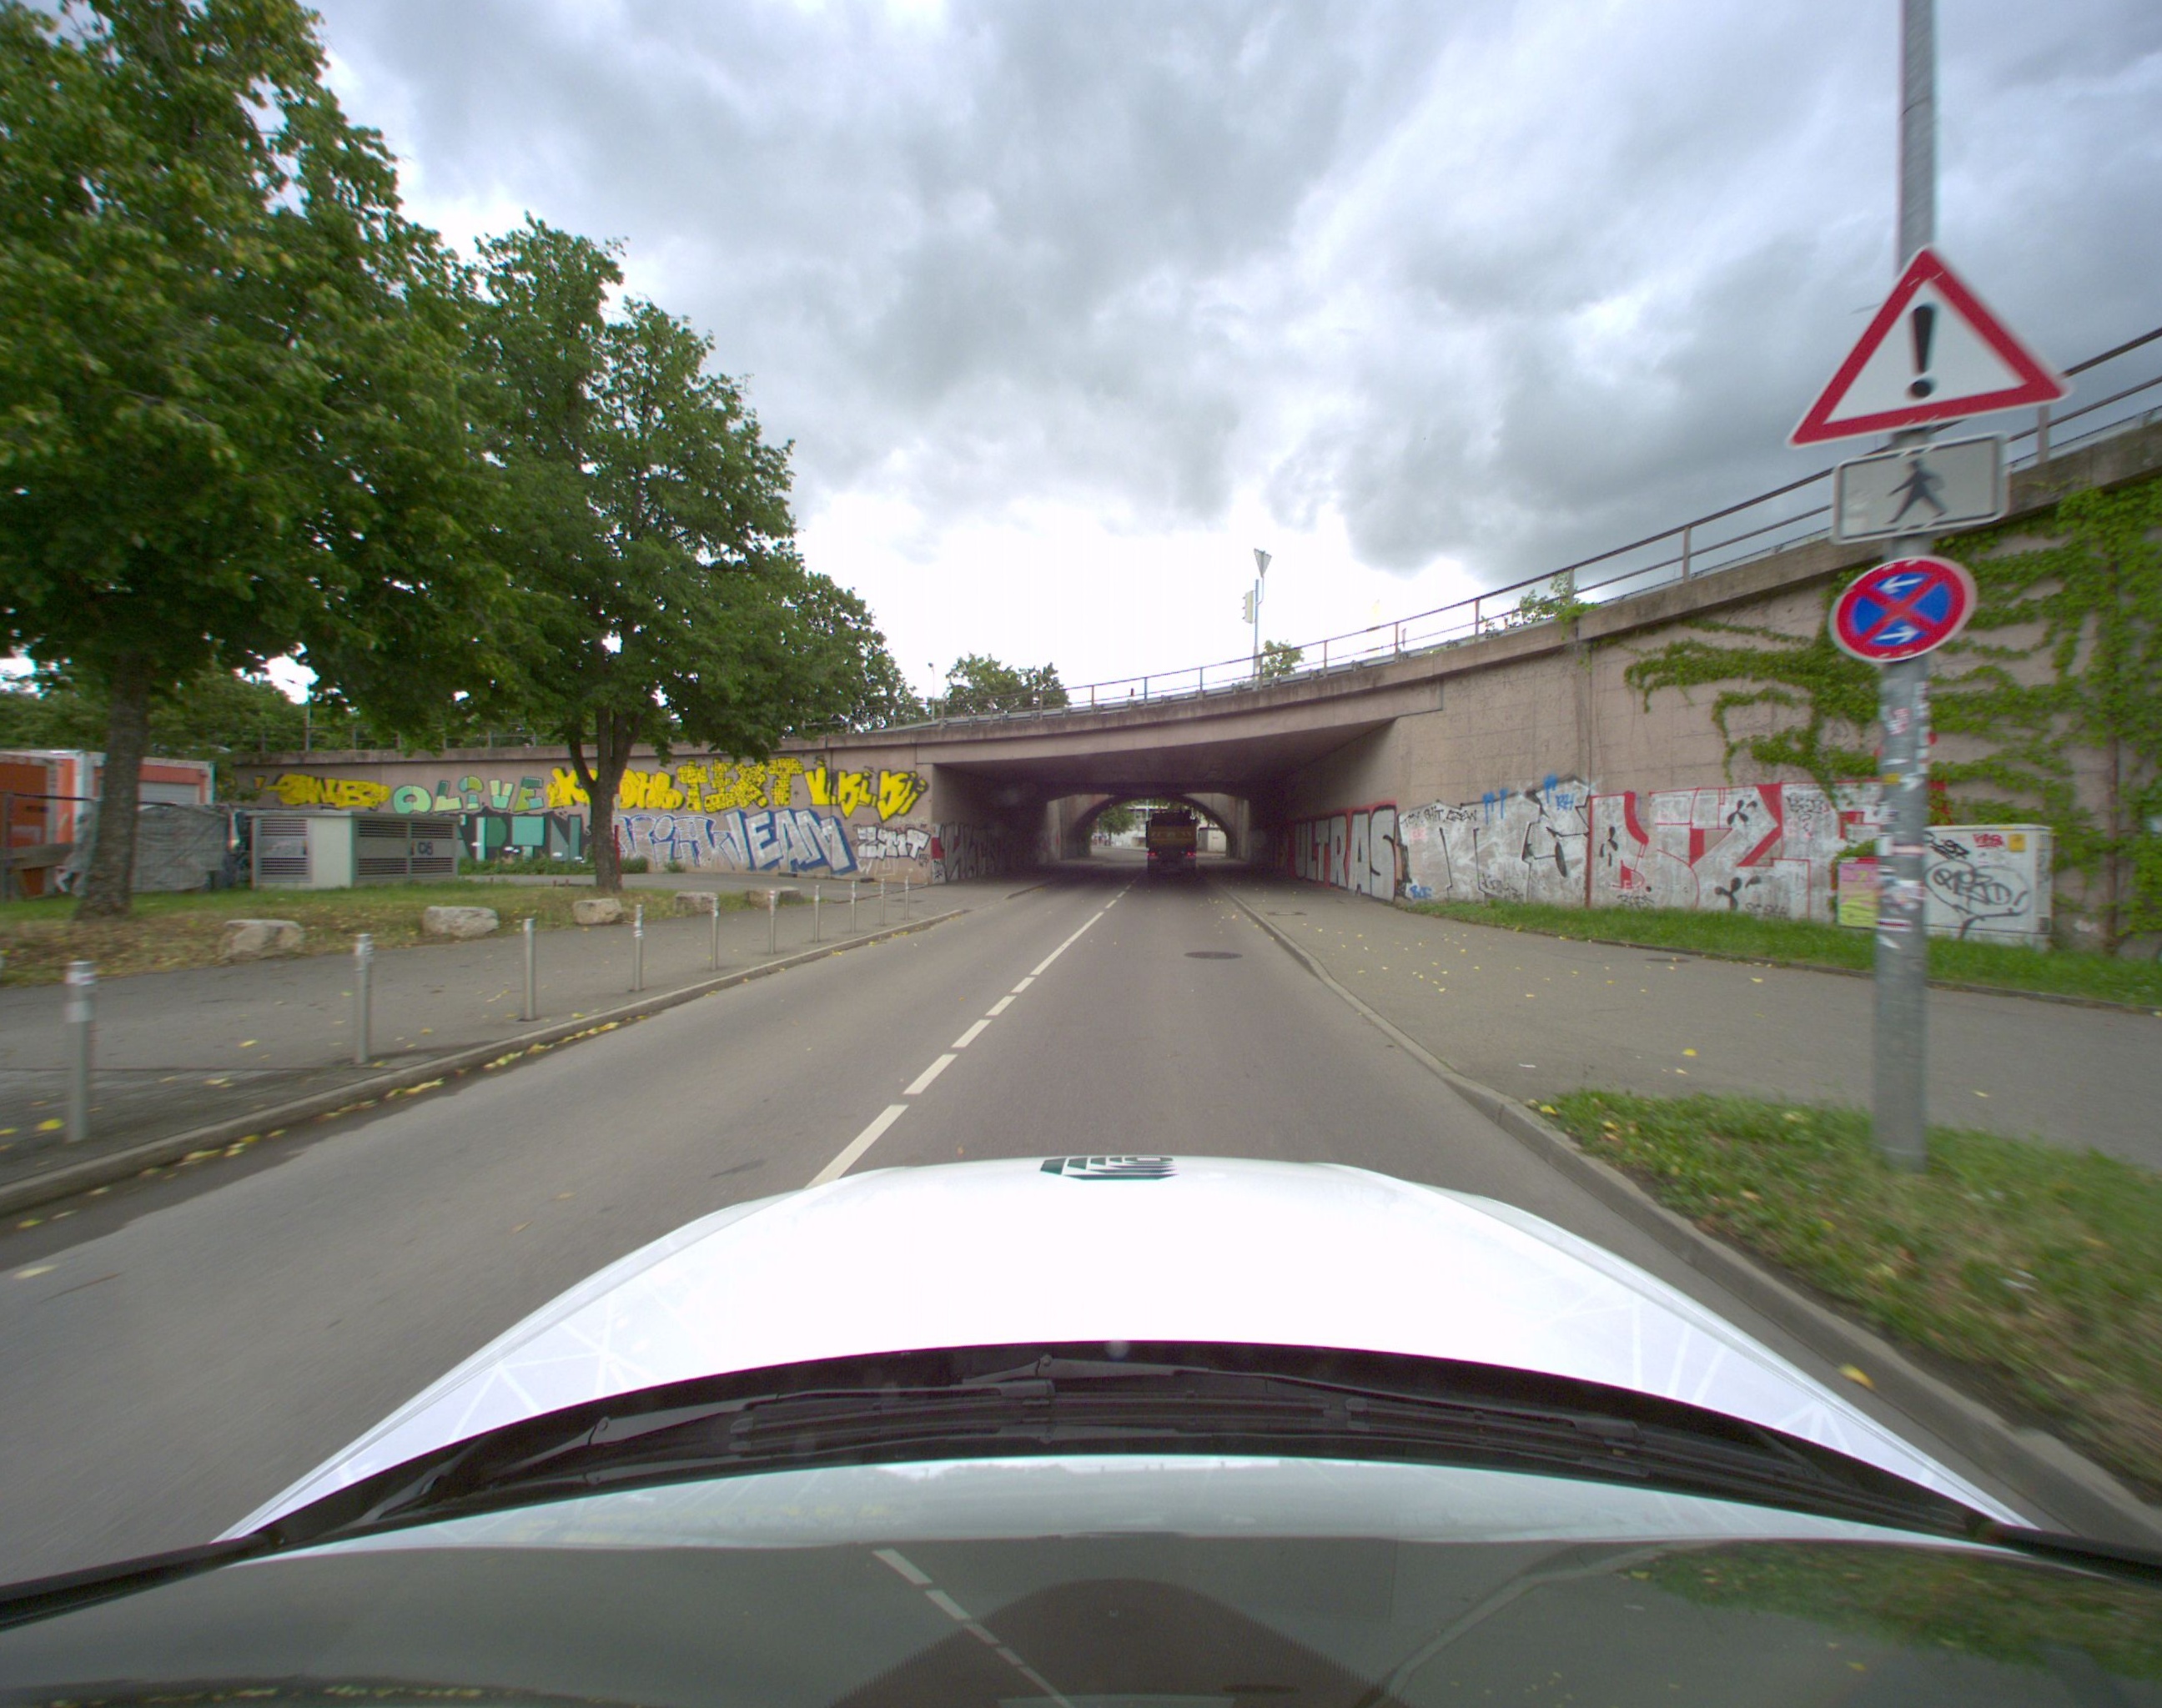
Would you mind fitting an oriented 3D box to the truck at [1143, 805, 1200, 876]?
[{"bbox_3d":[5.054,-0.817,44.506,2.749,3.483,8.149,0,2,8],"label":"truck"}]
